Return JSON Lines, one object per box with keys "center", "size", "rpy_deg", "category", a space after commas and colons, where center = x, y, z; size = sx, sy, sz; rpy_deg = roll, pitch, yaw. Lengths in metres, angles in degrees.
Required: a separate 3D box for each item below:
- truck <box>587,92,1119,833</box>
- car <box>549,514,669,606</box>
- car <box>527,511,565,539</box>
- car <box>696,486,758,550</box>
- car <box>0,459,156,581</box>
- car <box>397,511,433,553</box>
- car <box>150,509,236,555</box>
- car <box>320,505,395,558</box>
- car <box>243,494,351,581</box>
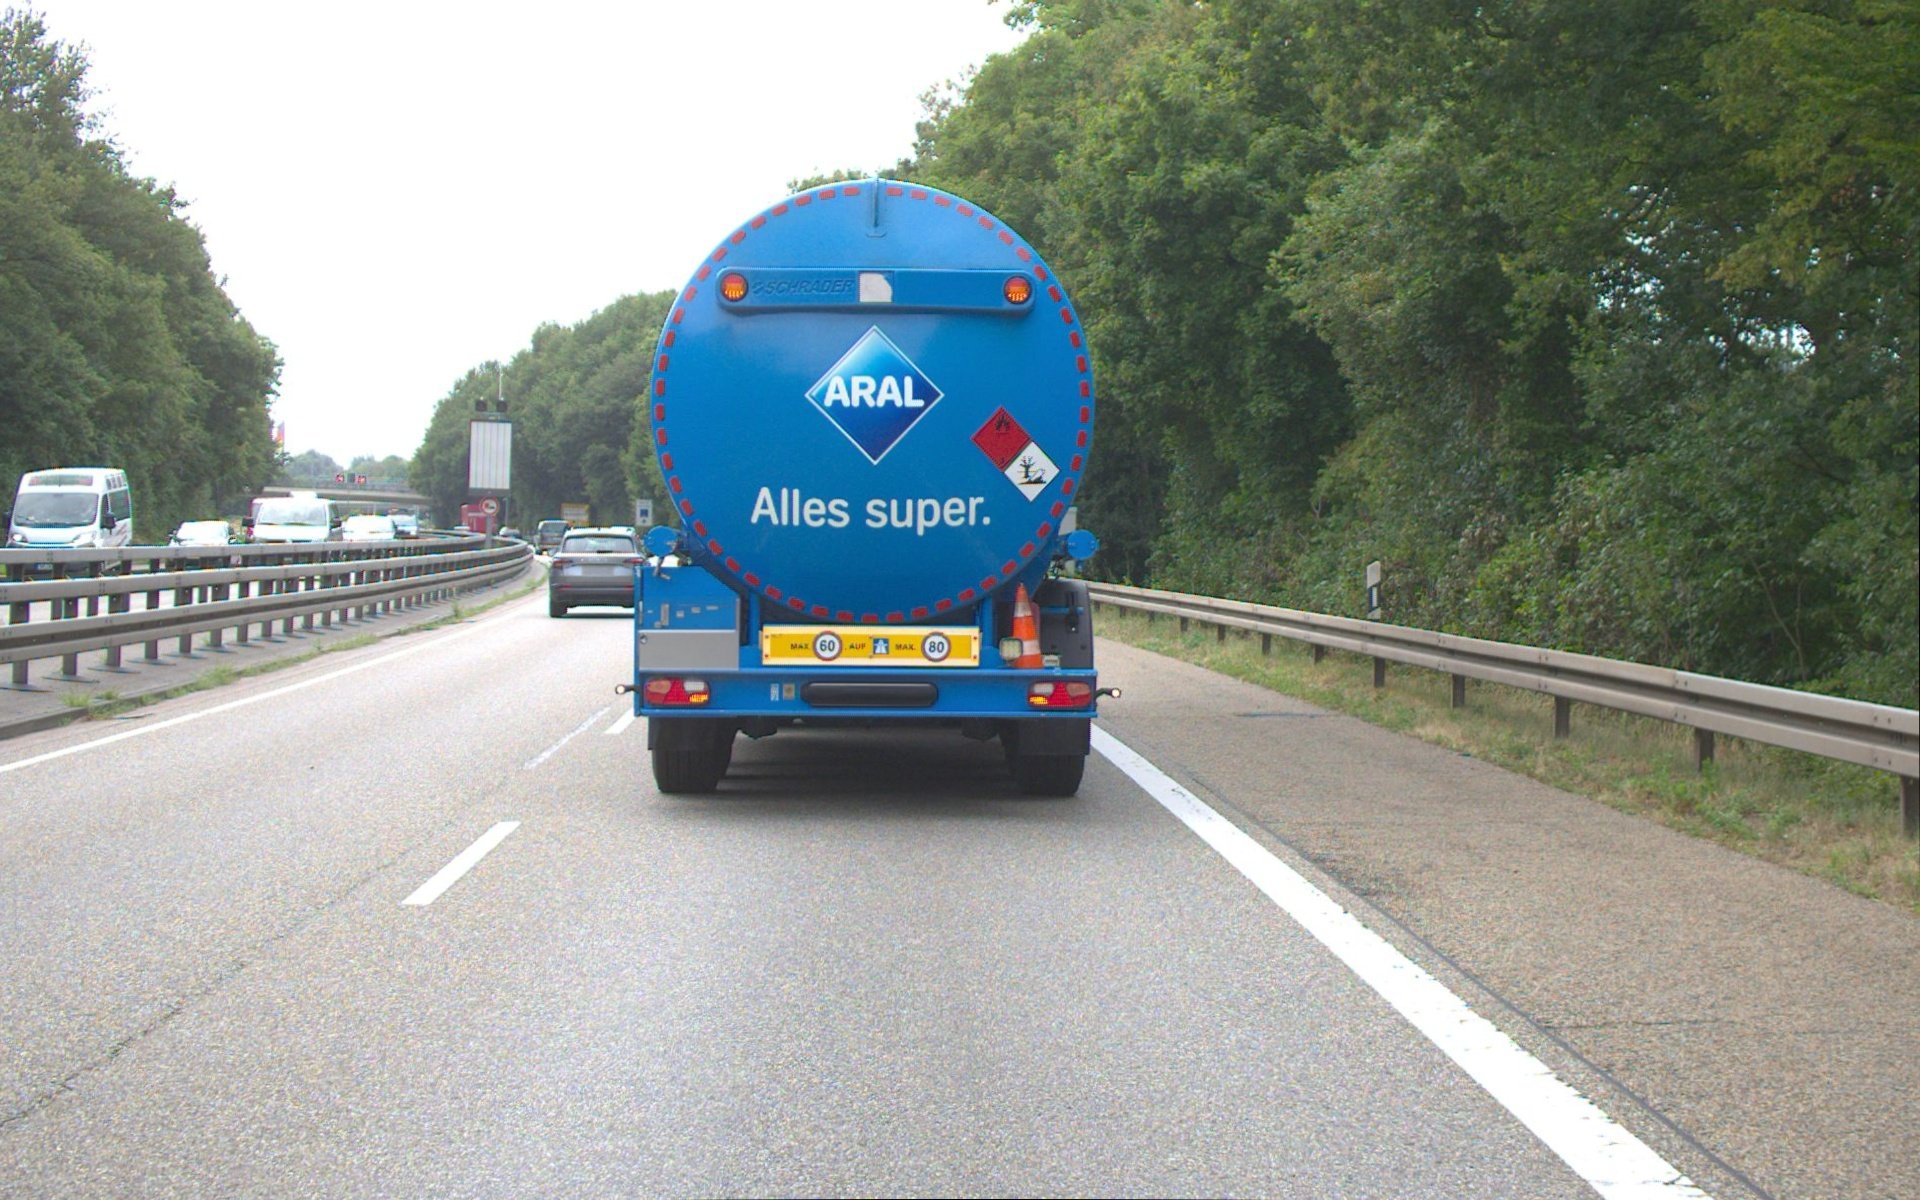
{"center": [-0.503, -0.793, 21.674], "size": [2.755, 3.833, 7.688], "rpy_deg": [0, 1, 1], "category": "truck"}
{"center": [-6.330, -0.727, 62.391], "size": [1.826, 1.604, 4.168], "rpy_deg": [0, 1, -1], "category": "car"}
{"center": [-23.903, -4.330, 198.565], "size": [1.993, 1.546, 4.001], "rpy_deg": [0, 1, -9], "category": "car"}
{"center": [-8.218, -2.892, 121.659], "size": [1.993, 2.237, 4.000], "rpy_deg": [0, 1, -1], "category": "car"}
{"center": [-19.550, -1.749, 76.470], "size": [2.311, 2.602, 5.554], "rpy_deg": [0, 1, -3], "category": "car"}
{"center": [-30.719, -3.821, 193.666], "size": [1.935, 2.313, 5.306], "rpy_deg": [0, 1, -10], "category": "car"}
{"center": [-21.866, -1.928, 98.159], "size": [1.774, 1.292, 4.108], "rpy_deg": [0, 1, -4], "category": "car"}
{"center": [-18.108, -2.052, 103.454], "size": [1.781, 1.558, 4.015], "rpy_deg": [0, 1, -3], "category": "car"}
{"center": [-15.682, -1.476, 81.465], "size": [1.821, 1.976, 5.058], "rpy_deg": [0, 1, -3], "category": "car"}
